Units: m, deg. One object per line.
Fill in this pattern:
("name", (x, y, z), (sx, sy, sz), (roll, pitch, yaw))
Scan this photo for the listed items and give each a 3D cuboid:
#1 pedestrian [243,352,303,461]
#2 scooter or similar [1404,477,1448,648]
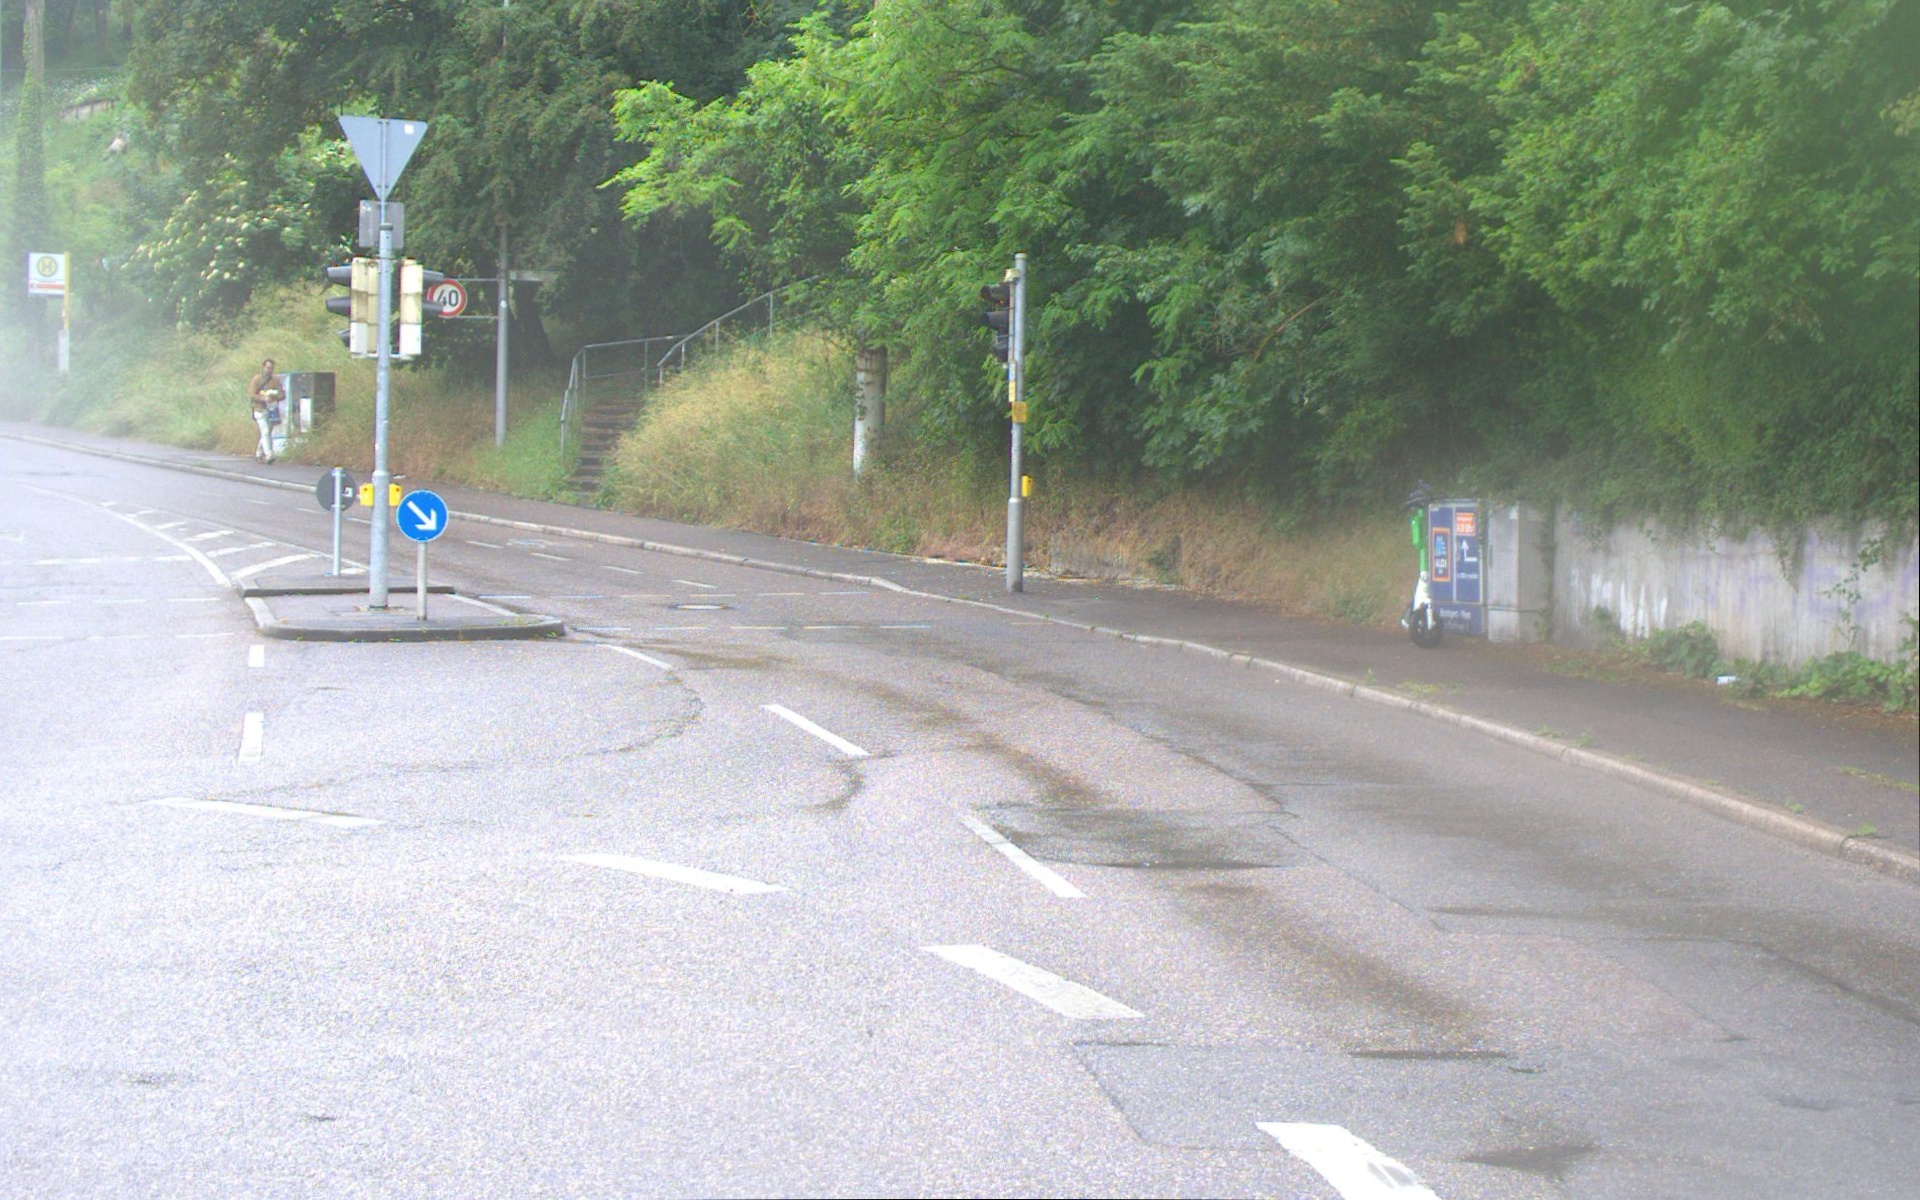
("pedestrian", (-11.335, -3.183, 56.725), (0.880, 1.730, 0.866), (0, 0, -17))
("scooter or similar", (3.590, -0.295, 26.490), (0.322, 1.275, 0.751), (0, 4, 7))
